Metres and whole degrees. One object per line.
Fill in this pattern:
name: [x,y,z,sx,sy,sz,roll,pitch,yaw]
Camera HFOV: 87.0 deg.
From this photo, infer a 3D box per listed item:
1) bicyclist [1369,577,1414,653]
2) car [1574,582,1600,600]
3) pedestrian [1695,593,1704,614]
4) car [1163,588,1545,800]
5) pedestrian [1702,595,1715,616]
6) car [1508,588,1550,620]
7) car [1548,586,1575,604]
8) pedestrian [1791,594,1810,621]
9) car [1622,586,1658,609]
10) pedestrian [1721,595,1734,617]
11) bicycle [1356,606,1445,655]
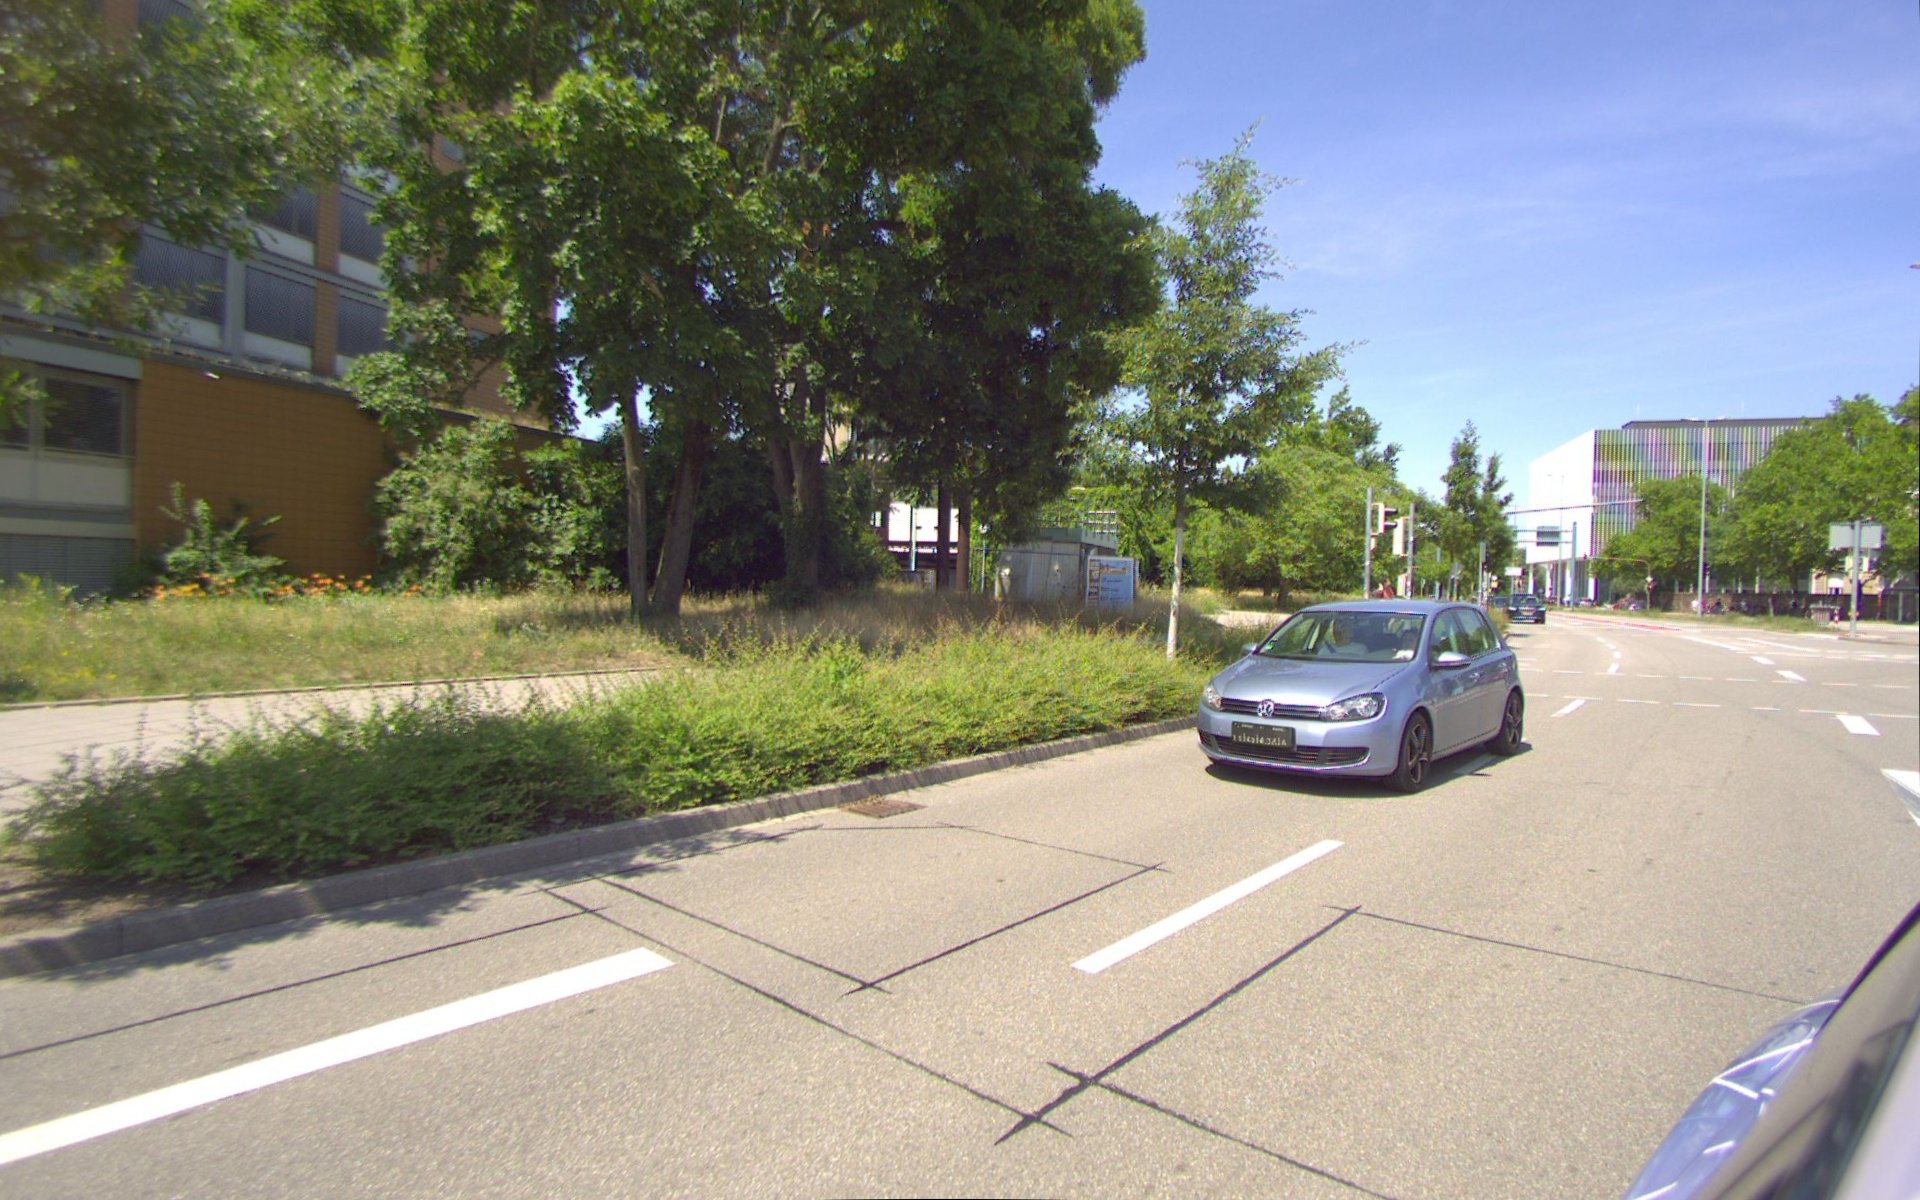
bicyclist: [10.263,0.349,24.077,0.540,1.737,0.704,3,0,-29]
car: [67.393,-0.943,108.816,1.762,1.705,3.968,2,-1,23]
pedestrian: [72.995,0.307,99.897,0.543,2.039,0.532,2,-1,21]
car: [3.666,0.626,9.039,1.828,1.432,3.931,2,2,44]
pedestrian: [73.828,0.579,99.861,0.779,2.039,0.957,2,-1,20]
car: [31.281,0.243,55.720,1.692,1.606,4.514,2,-1,25]
car: [65.211,-0.537,109.786,1.757,1.690,3.971,2,-1,21]
pedestrian: [74.111,0.681,89.209,0.837,2.320,1.071,2,-1,13]
car: [67.086,-0.250,99.867,1.976,2.039,4.184,2,-1,21]
pedestrian: [75.275,0.589,99.272,0.779,2.039,0.834,2,-1,20]
bicycle: [10.355,0.702,23.855,0.547,1.058,2.000,3,-1,-28]
